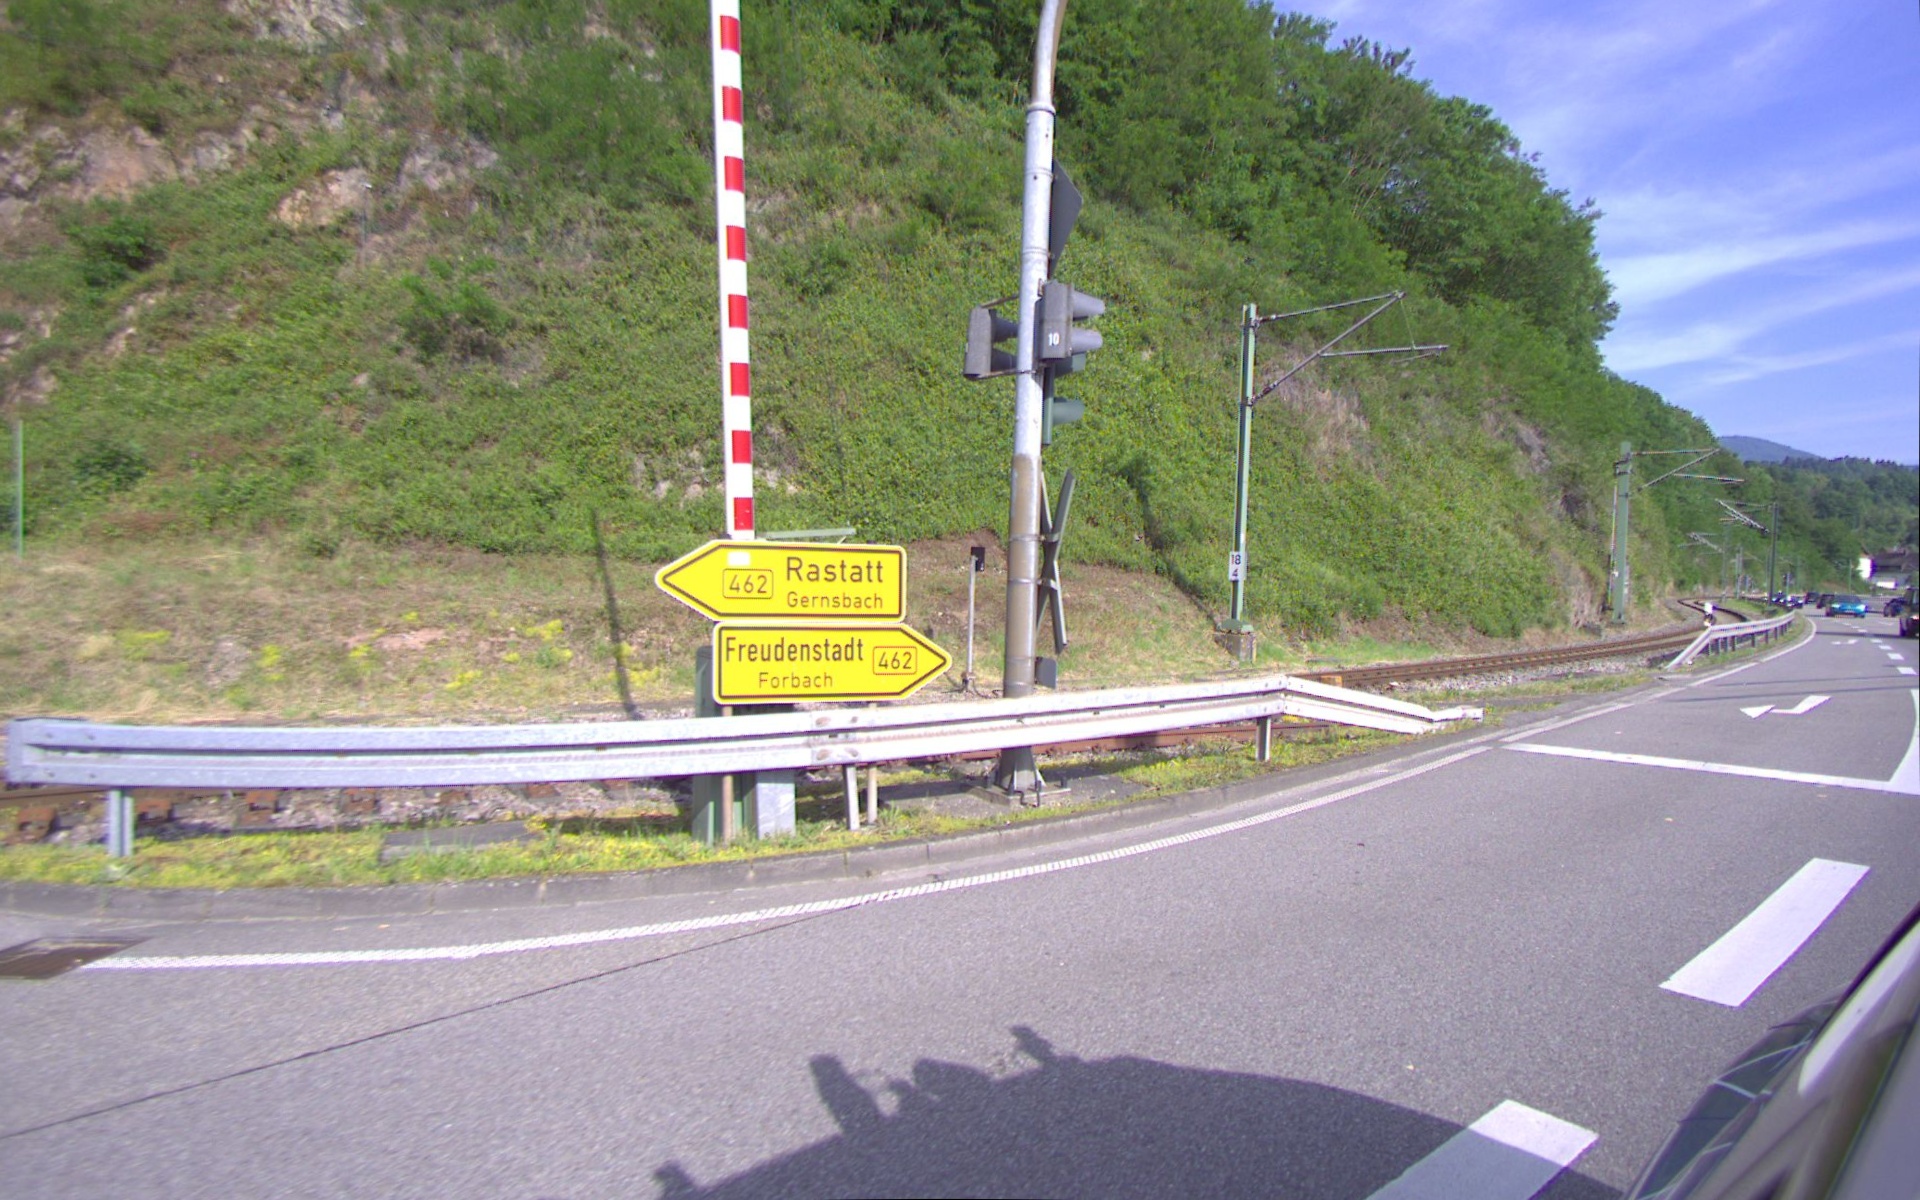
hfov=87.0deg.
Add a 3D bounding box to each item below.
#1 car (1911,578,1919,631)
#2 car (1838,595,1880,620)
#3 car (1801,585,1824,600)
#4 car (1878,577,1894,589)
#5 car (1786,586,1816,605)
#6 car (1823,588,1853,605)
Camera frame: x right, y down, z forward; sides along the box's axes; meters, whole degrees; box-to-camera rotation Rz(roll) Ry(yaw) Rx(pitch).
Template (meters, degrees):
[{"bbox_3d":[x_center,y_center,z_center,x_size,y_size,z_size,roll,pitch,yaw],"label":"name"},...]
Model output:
[{"bbox_3d":[36.756,0.179,37.521,1.901,1.903,4.284,-1,-1,40],"label":"car"},{"bbox_3d":[59.777,0.469,67.349,1.760,1.478,3.528,4,4,38],"label":"car"},{"bbox_3d":[109.428,-0.909,130.001,1.786,1.851,4.767,1,1,35],"label":"car"},{"bbox_3d":[157.863,-2.918,172.550,1.992,2.039,3.940,1,1,41],"label":"car"},{"bbox_3d":[80.952,-0.420,97.426,1.989,1.816,3.947,1,1,37],"label":"car"},{"bbox_3d":[91.231,-0.394,105.194,1.811,1.667,4.555,2,2,35],"label":"car"}]
